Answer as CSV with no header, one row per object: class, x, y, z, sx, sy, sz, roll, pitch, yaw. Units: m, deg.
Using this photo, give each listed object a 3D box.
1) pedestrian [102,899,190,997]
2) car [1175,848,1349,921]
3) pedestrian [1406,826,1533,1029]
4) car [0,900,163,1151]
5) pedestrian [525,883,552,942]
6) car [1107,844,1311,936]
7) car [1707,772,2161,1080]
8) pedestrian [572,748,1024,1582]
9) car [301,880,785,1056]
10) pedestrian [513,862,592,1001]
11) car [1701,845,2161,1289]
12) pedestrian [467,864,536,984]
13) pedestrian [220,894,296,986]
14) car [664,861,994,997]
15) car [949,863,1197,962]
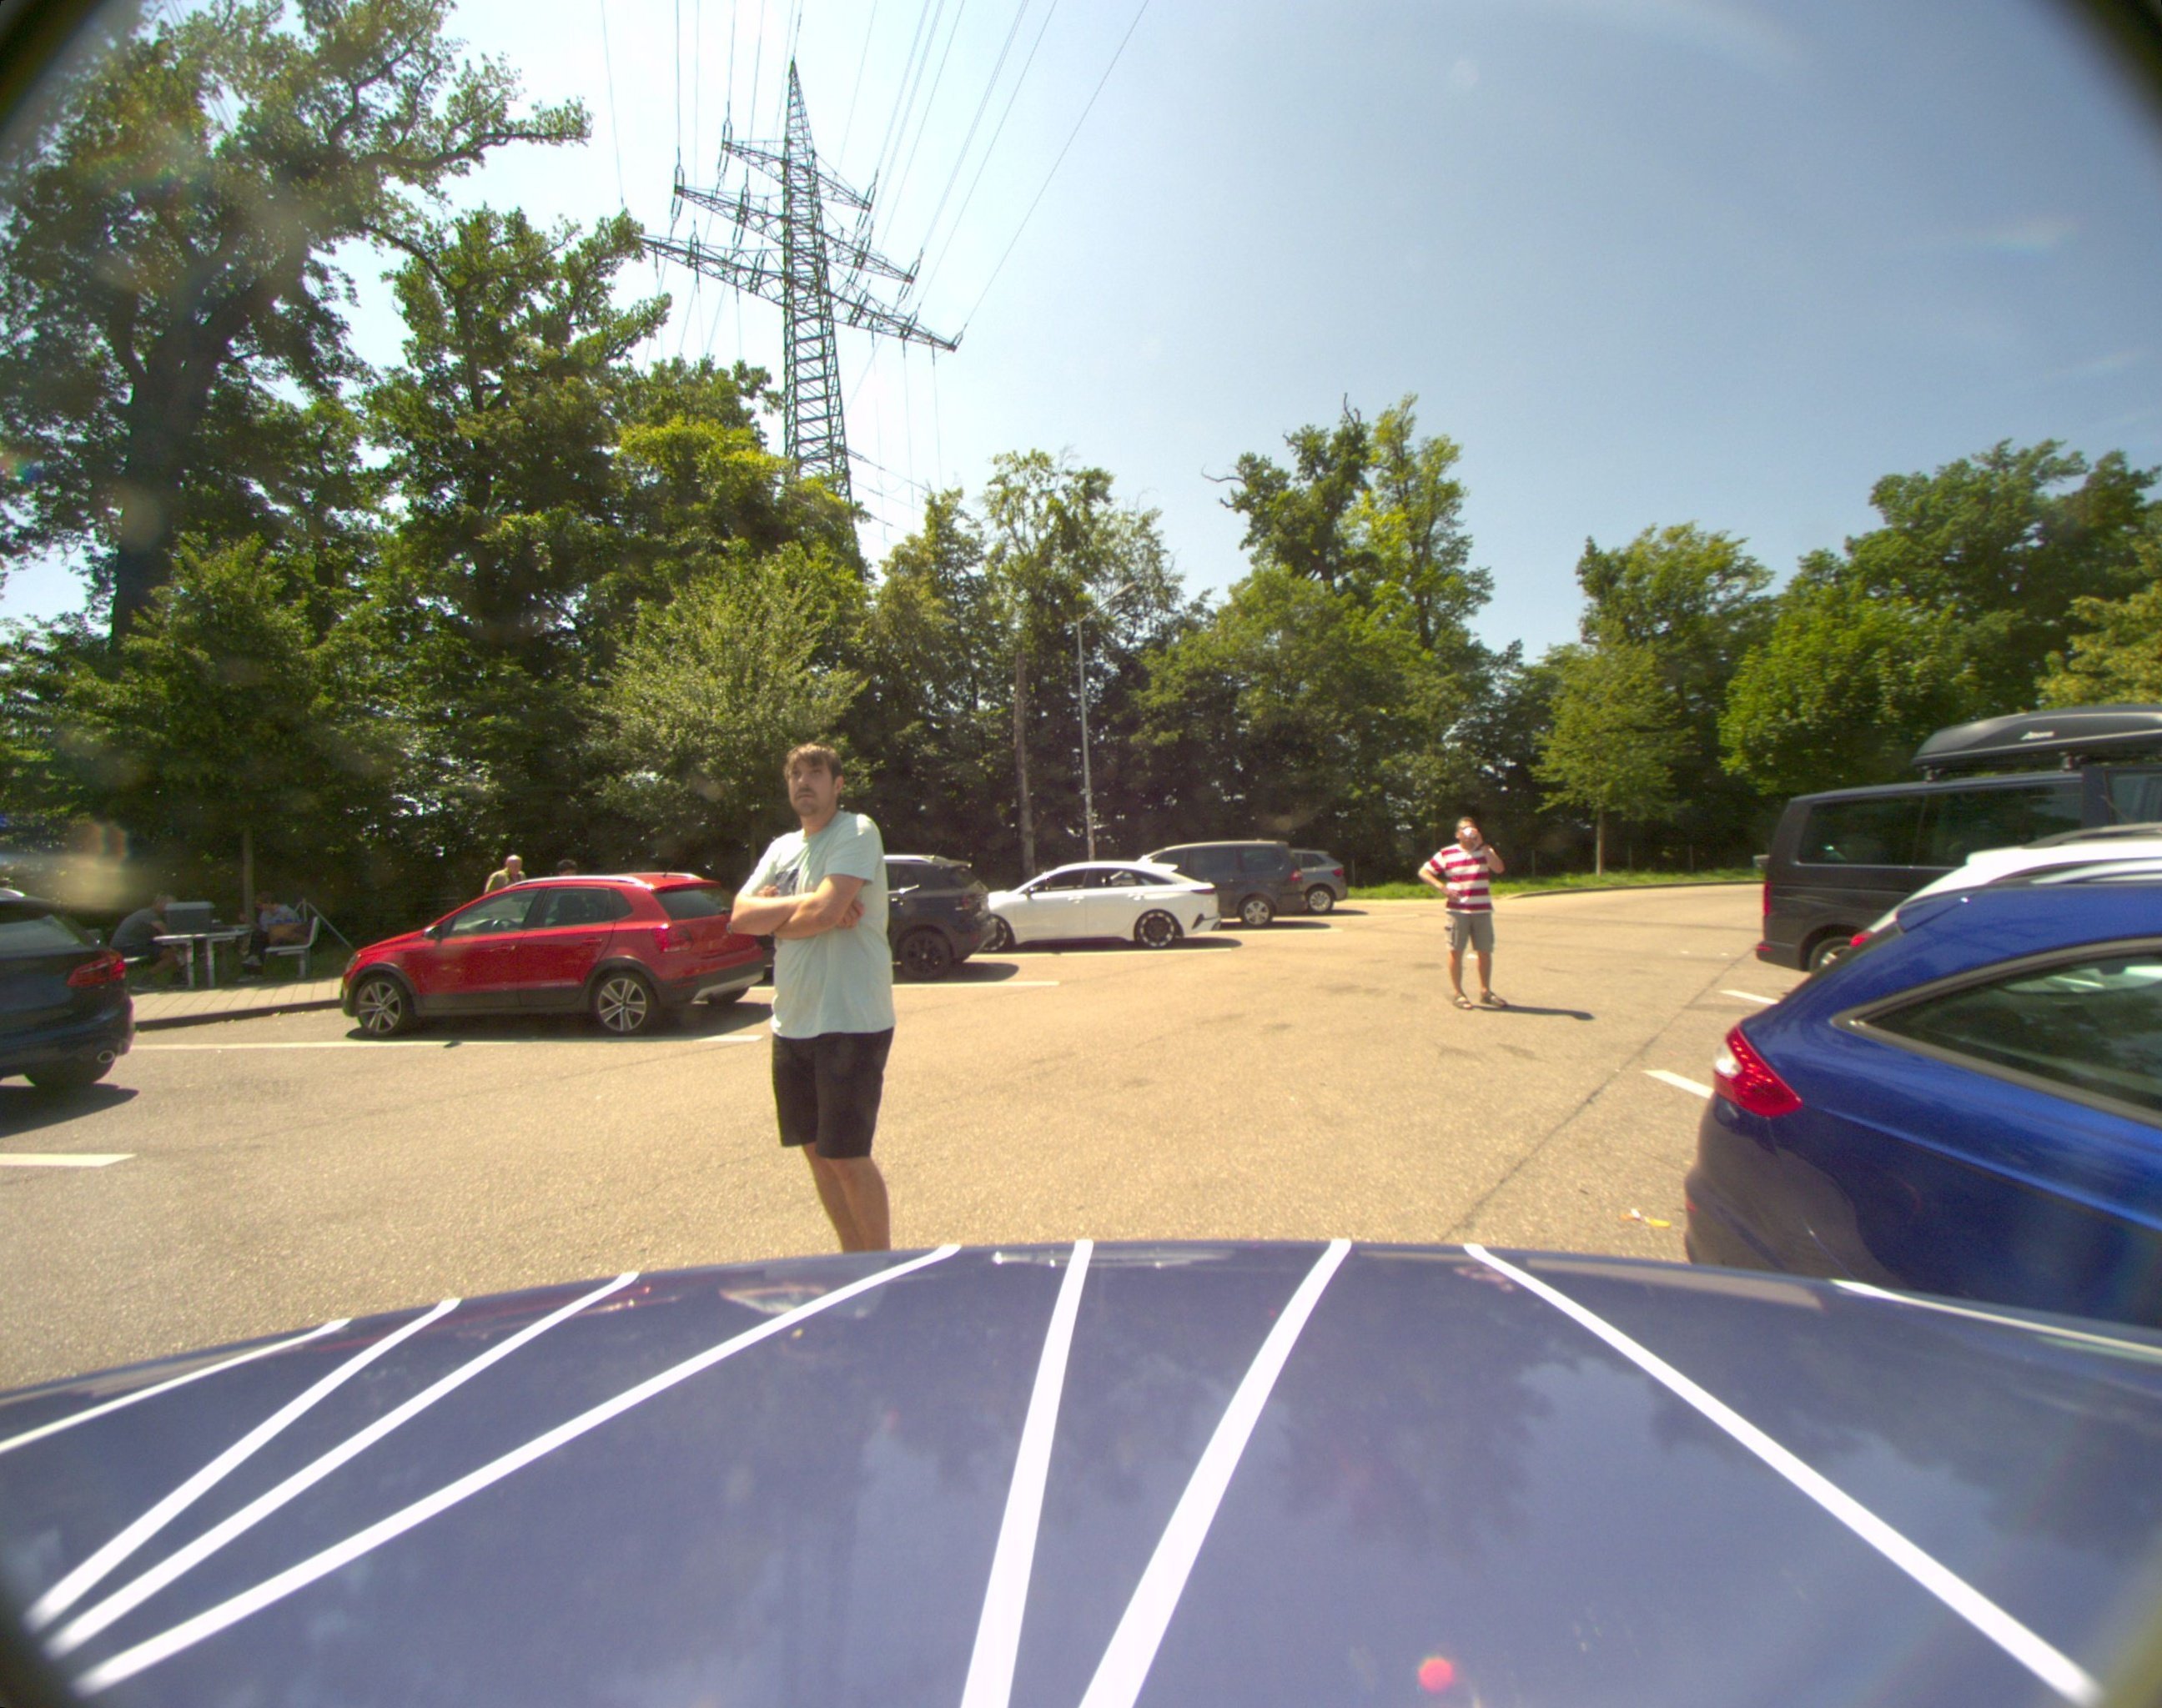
pedestrian,-12.737,1.264,10.363,0.595,1.238,0.446,-3,1,-33
car,4.255,0.702,18.147,3.822,1.551,1.652,-2,1,12
pedestrian,3.548,0.640,7.007,0.754,1.744,0.785,-2,1,4
car,-9.039,1.167,4.996,4.338,1.544,1.749,-1,1,8
pedestrian,-11.019,1.181,15.430,0.357,1.158,0.384,-3,2,-41
car,2.597,0.705,15.452,3.822,1.686,1.652,-2,1,12
car,7.367,0.411,5.281,1.758,1.886,4.571,-3,-1,-9
pedestrian,-0.819,0.724,2.354,0.812,1.939,0.922,-1,1,32
car,-5.239,1.085,7.663,3.823,1.460,1.651,-2,1,8
pedestrian,-6.436,0.906,9.255,0.648,1.596,0.571,-3,2,-43
car,4.640,0.726,2.248,1.757,1.496,4.574,-3,-1,-1
pedestrian,-8.159,0.956,10.702,0.648,1.596,0.571,-3,2,-43
pedestrian,-11.870,1.224,10.977,0.595,1.238,0.499,-3,1,-33
car,-3.258,0.957,10.293,3.825,1.546,1.651,-2,1,4
car,-0.084,0.928,12.669,3.825,1.394,1.651,-2,1,4
